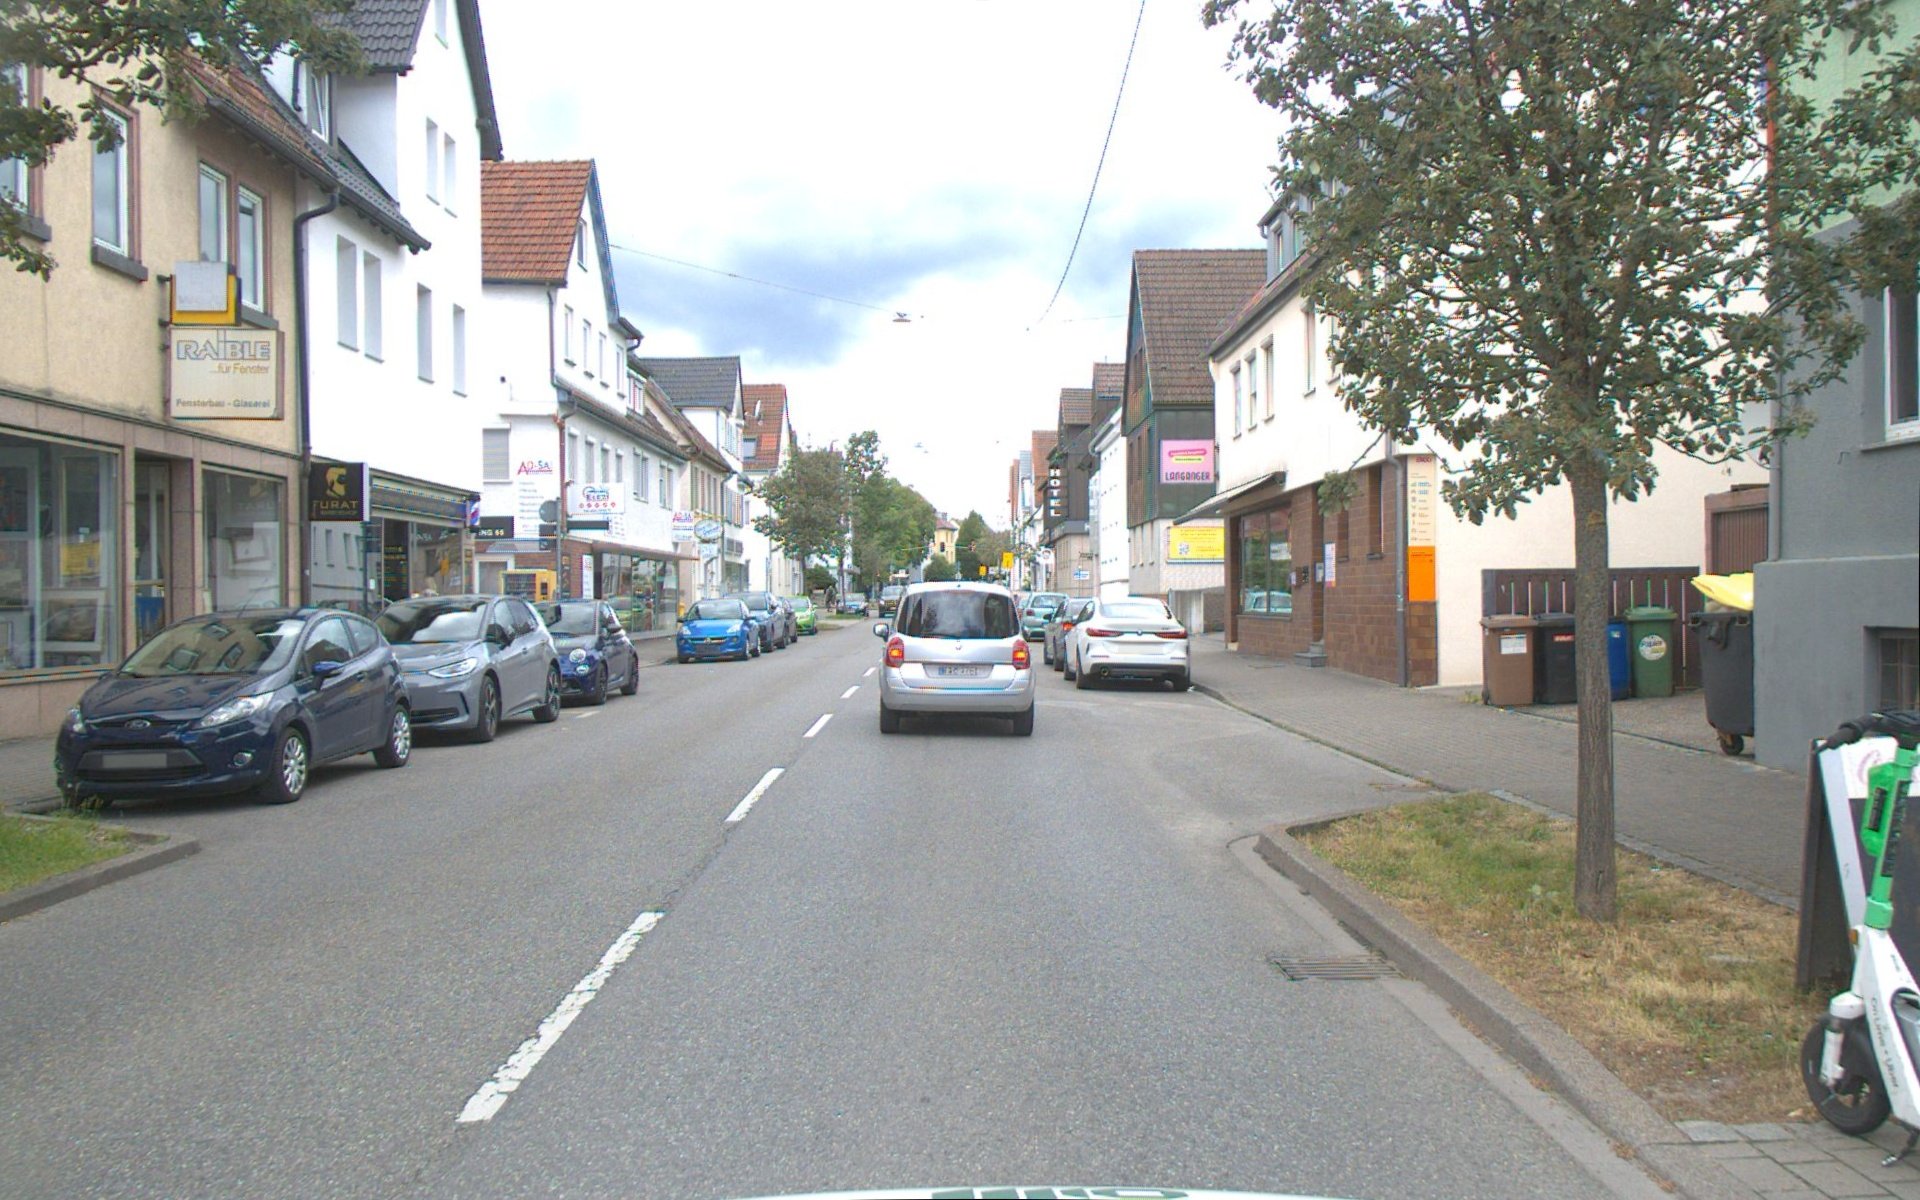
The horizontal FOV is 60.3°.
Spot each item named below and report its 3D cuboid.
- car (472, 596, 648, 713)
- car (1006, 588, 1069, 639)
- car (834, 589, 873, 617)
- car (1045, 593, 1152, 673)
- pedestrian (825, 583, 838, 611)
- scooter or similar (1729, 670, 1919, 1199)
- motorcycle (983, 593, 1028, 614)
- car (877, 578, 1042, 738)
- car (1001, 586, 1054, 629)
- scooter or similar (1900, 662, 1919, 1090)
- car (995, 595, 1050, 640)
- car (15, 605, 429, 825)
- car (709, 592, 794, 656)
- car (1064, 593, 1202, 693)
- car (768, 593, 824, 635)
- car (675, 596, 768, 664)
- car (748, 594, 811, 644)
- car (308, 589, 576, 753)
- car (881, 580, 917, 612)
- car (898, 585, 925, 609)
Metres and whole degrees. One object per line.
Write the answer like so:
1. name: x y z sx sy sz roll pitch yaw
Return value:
1. car: -5.772 0.738 24.280 1.648 1.519 3.591 -2 0 0
2. car: 2.394 0.391 52.006 1.793 1.524 3.993 1 0 0
3. car: -6.239 0.169 97.255 1.908 1.493 4.516 -3 0 0
4. car: 2.704 0.612 33.040 1.793 1.471 4.110 1 0 0
5. pedestrian: -8.493 -0.208 109.493 0.747 1.822 0.890 0 0 -1
6. scooter or similar: 2.572 0.843 3.999 0.492 1.257 1.942 0 0 -1
7. motorcycle: 2.638 0.181 95.872 2.700 1.204 0.693 0 0 -31
8. car: 0.004 0.580 18.671 1.648 1.593 3.993 1 0 0
9. car: 2.535 0.280 62.848 1.837 1.566 4.512 0 0 0
10. scooter or similar: 3.095 0.820 4.015 0.492 1.257 1.942 0 0 -1
11. car: 2.109 0.561 56.869 1.719 1.471 4.455 1 0 0
12. car: -5.803 0.811 13.569 1.648 1.449 3.930 -2 0 -1
13. car: -5.785 0.626 46.265 1.766 1.627 4.304 -2 0 0
14. car: 2.727 0.630 26.923 1.793 1.471 4.331 1 0 0
15. car: -6.101 0.496 61.943 1.648 1.473 4.020 -2 0 0
16. car: -5.774 0.696 40.441 1.648 1.525 3.775 -2 0 0
17. car: -5.662 0.571 52.150 1.549 1.534 3.812 0 0 0
18. car: -5.711 0.705 18.768 1.675 1.593 4.113 -2 0 0
19. car: -3.539 -0.229 96.490 1.862 1.768 4.366 -2 0 0
20. car: -3.521 -0.214 120.381 1.758 1.606 4.192 -2 0 0
